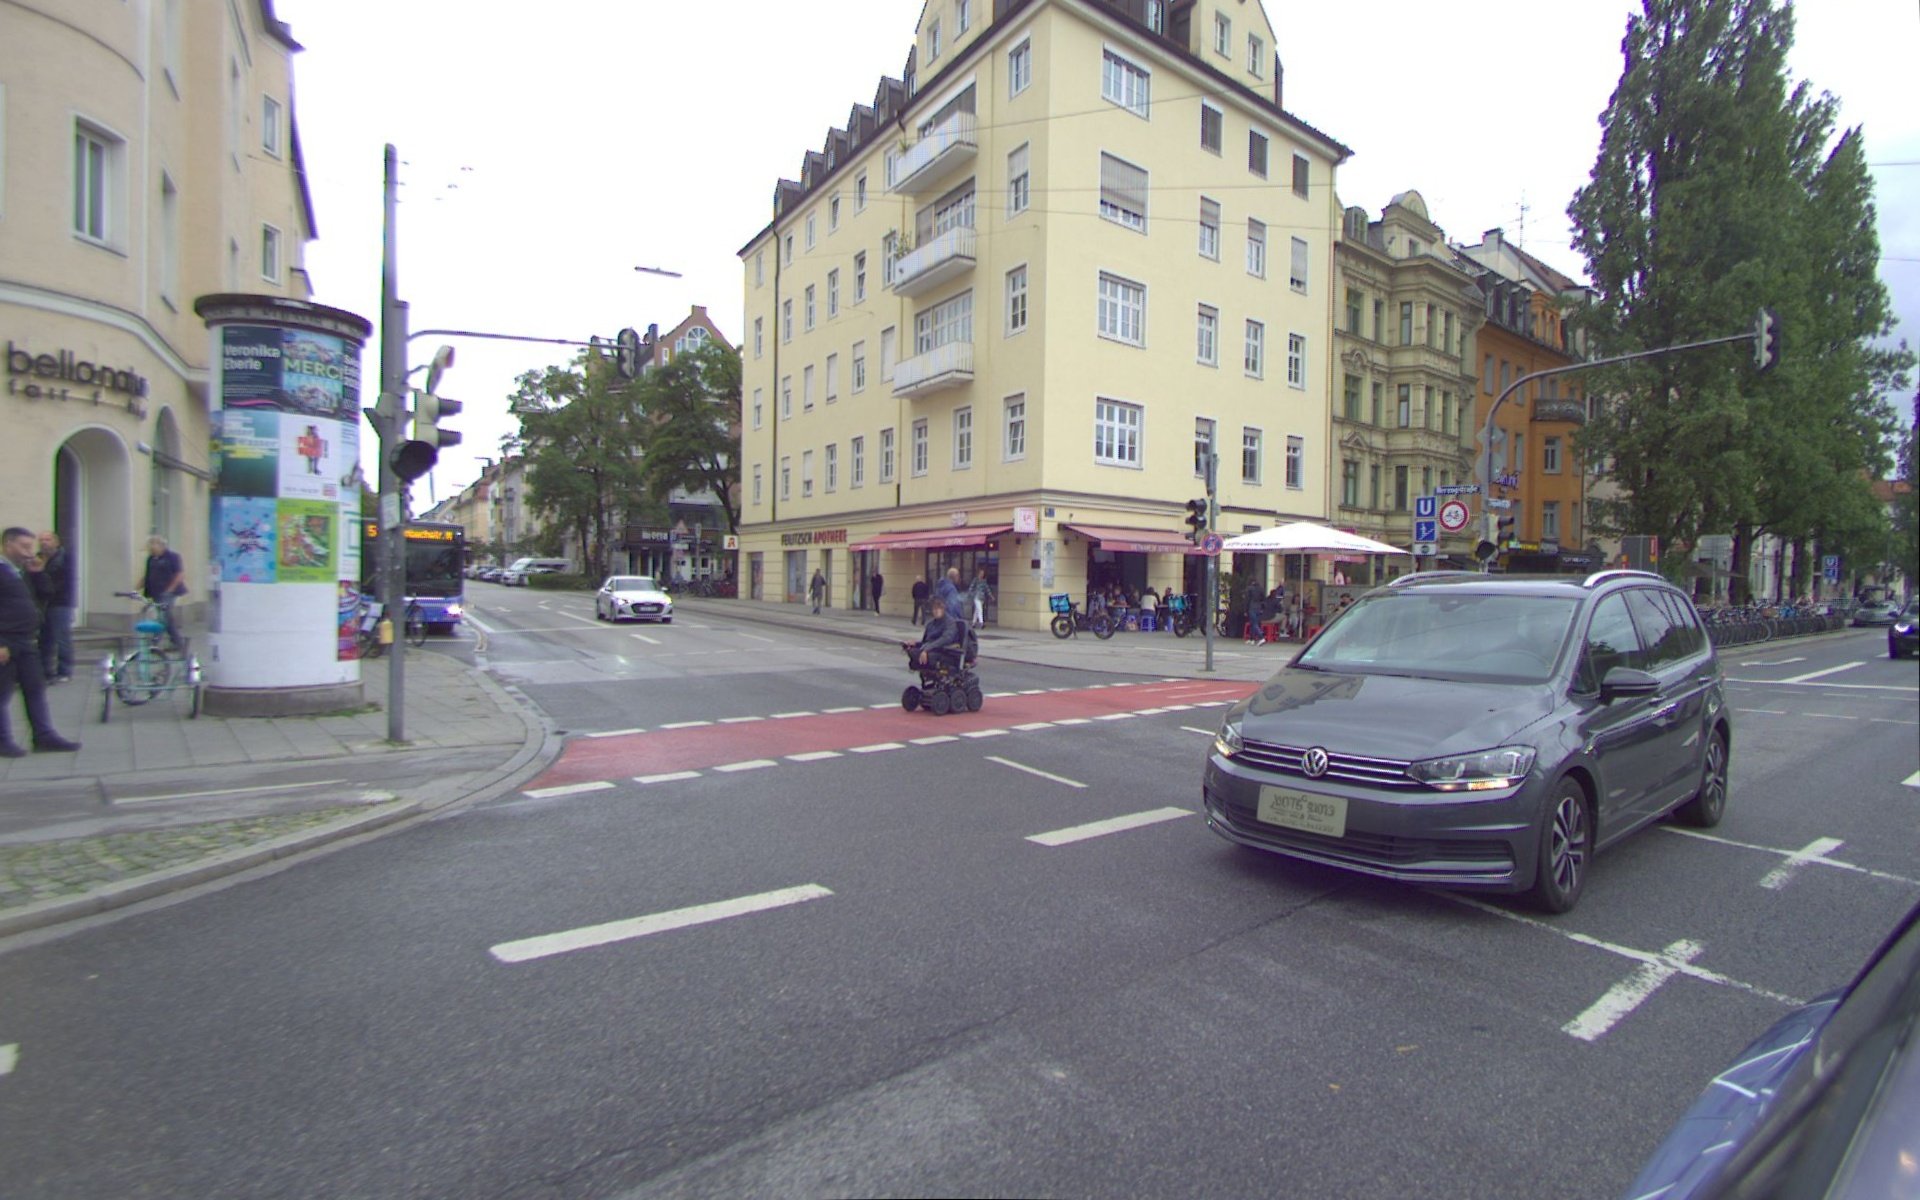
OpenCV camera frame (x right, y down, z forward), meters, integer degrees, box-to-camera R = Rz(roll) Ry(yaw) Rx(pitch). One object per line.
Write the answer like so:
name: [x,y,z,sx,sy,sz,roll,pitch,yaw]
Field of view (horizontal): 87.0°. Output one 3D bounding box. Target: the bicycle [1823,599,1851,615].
bicycle: [57.902,0.460,66.821,1.801,1.036,0.447,0,1,-14]

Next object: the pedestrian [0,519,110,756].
pedestrian: [-7.232,0.257,7.715,0.803,1.712,0.837,1,1,-3]

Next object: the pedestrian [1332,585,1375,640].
pedestrian: [9.830,0.298,25.267,0.782,1.327,0.679,0,1,-40]

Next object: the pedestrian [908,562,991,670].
pedestrian: [-0.184,0.246,17.368,1.045,1.777,0.936,0,1,-37]

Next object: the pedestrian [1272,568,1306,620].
pedestrian: [10.637,-0.196,32.695,0.772,1.653,0.712,0,1,-40]

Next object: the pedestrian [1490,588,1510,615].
pedestrian: [25.682,0.076,48.129,0.573,1.233,0.623,0,1,-41]

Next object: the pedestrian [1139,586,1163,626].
pedestrian: [5.827,0.173,30.825,0.518,1.180,0.479,0,1,-42]

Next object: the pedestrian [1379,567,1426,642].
pedestrian: [10.735,0.098,24.533,0.878,1.765,0.848,2,1,33]

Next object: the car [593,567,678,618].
car: [-10.230,-0.271,31.746,1.856,1.440,4.006,0,2,-28]

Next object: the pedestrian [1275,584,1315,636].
pedestrian: [8.789,0.246,26.581,0.782,1.327,0.679,0,1,-40]

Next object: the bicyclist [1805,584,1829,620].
bicyclist: [39.817,0.088,47.044,0.923,1.623,0.681,0,1,-41]

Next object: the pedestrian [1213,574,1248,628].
pedestrian: [7.996,0.022,29.924,0.727,1.560,0.880,2,1,35]

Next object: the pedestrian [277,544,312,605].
pedestrian: [-19.703,-0.764,29.983,0.732,1.748,0.727,4,-1,-31]

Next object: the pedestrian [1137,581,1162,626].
pedestrian: [5.596,0.106,29.869,0.518,1.315,0.479,0,1,-42]

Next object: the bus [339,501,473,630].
bus: [-16.661,-1.036,30.336,2.758,3.004,13.623,2,1,-30]

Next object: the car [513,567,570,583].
car: [-34.051,-2.037,82.343,1.784,1.237,3.950,2,2,35]

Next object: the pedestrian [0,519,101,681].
pedestrian: [-10.493,0.003,11.653,0.623,1.774,0.652,4,-1,-18]

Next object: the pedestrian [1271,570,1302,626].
pedestrian: [9.798,-0.077,30.350,0.666,1.653,0.616,0,1,-40]

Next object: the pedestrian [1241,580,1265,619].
pedestrian: [9.930,-0.027,34.295,0.542,1.305,0.542,0,1,-40]

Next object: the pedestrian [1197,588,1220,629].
pedestrian: [8.806,0.287,35.896,0.542,1.414,0.542,0,1,-40]

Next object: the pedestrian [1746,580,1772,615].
pedestrian: [36.481,-0.105,46.205,0.749,1.582,0.762,1,0,-39]

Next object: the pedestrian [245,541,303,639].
pedestrian: [-12.482,-0.188,18.433,0.732,1.706,0.683,4,-1,-31]

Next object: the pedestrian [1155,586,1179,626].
pedestrian: [6.218,0.170,30.463,0.518,1.180,0.479,0,1,-42]

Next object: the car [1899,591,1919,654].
car: [25.248,0.509,25.574,3.901,1.523,1.778,-1,-2,-41]

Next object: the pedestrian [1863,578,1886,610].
pedestrian: [51.643,-0.357,57.157,0.638,1.803,0.702,1,0,-7]

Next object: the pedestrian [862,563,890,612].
pedestrian: [-2.968,-0.447,35.710,0.690,1.704,0.854,0,1,-30]

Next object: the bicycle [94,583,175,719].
bicycle: [-8.066,0.461,9.928,0.515,1.174,1.573,3,1,-37]

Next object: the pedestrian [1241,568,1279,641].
pedestrian: [7.238,0.093,24.409,0.752,1.716,0.762,2,1,24]

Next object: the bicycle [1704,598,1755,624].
bicycle: [37.282,0.534,49.041,0.571,1.188,1.892,0,1,-38]

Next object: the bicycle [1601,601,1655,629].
bicycle: [26.026,0.580,39.453,1.723,1.059,0.381,1,0,44]

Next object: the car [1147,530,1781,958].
car: [3.309,0.558,6.137,4.625,1.668,1.775,0,0,-40]

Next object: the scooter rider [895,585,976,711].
scooter rider: [-0.287,0.531,11.883,0.632,1.406,0.702,0,1,-42]

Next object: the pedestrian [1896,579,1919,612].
pedestrian: [53.707,-0.259,57.266,0.741,1.824,0.883,1,0,-30]

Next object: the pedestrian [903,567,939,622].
pedestrian: [-1.150,-0.175,29.913,0.753,1.605,0.760,0,1,-36]

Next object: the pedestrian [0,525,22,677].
pedestrian: [-11.314,-0.014,11.455,0.638,1.727,0.728,4,-1,20]

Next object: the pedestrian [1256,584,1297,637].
pedestrian: [8.125,0.248,26.013,0.782,1.327,0.679,0,1,-40]

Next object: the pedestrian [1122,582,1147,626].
pedestrian: [5.212,0.115,30.239,0.518,1.315,0.479,0,1,-42]

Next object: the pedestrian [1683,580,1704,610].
pedestrian: [41.853,-0.282,57.749,0.999,1.706,0.747,0,1,-41]

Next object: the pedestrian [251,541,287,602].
pedestrian: [-20.573,-0.840,30.159,0.732,1.748,0.727,4,-1,-31]

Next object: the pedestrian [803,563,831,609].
pedestrian: [-5.203,-0.506,36.716,0.752,1.663,0.761,0,1,-30]

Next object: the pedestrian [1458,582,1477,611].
pedestrian: [22.829,-0.164,45.532,0.573,1.296,0.584,0,1,-41]

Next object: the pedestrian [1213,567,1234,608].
pedestrian: [9.136,-0.438,35.063,0.479,1.414,0.511,0,1,-35]

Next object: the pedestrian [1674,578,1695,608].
pedestrian: [42.374,-0.394,59.215,0.999,1.735,0.747,0,1,-41]

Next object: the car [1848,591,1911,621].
car: [47.268,0.279,52.015,4.453,1.458,1.996,0,2,-43]

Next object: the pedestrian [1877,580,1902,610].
pedestrian: [52.457,-0.287,57.107,0.743,1.658,0.700,1,0,6]

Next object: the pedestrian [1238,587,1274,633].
pedestrian: [8.004,0.253,27.374,0.688,1.218,0.627,0,1,-40]

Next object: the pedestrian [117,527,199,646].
pedestrian: [-12.236,-0.206,15.464,0.731,1.727,0.684,4,-1,-23]

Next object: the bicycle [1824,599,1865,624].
bicycle: [36.992,0.483,42.330,0.369,1.008,1.836,1,0,10]

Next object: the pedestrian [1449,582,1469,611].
pedestrian: [22.197,-0.161,45.005,0.573,1.296,0.584,0,1,-41]

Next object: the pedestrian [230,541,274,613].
pedestrian: [-17.430,-0.556,24.931,0.732,1.706,0.727,4,-1,-31]

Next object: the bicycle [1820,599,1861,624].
bicycle: [36.487,0.485,41.953,0.369,1.008,1.836,1,0,10]

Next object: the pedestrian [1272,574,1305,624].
pedestrian: [9.574,-0.041,29.483,0.606,1.440,0.677,0,1,-40]

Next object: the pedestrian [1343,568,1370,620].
pedestrian: [13.701,-0.220,35.002,0.654,1.761,0.601,0,1,-40]

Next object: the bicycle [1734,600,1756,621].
bicycle: [35.709,0.461,46.009,1.861,0.903,0.457,0,1,-42]

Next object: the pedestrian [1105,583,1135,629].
pedestrian: [4.691,0.176,29.624,0.691,1.308,0.515,0,1,-42]

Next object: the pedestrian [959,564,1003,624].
pedestrian: [0.604,-0.181,29.059,0.822,1.704,1.041,0,1,-30]

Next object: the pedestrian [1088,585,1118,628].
pedestrian: [4.111,0.175,29.009,0.691,1.196,0.515,0,1,-42]
